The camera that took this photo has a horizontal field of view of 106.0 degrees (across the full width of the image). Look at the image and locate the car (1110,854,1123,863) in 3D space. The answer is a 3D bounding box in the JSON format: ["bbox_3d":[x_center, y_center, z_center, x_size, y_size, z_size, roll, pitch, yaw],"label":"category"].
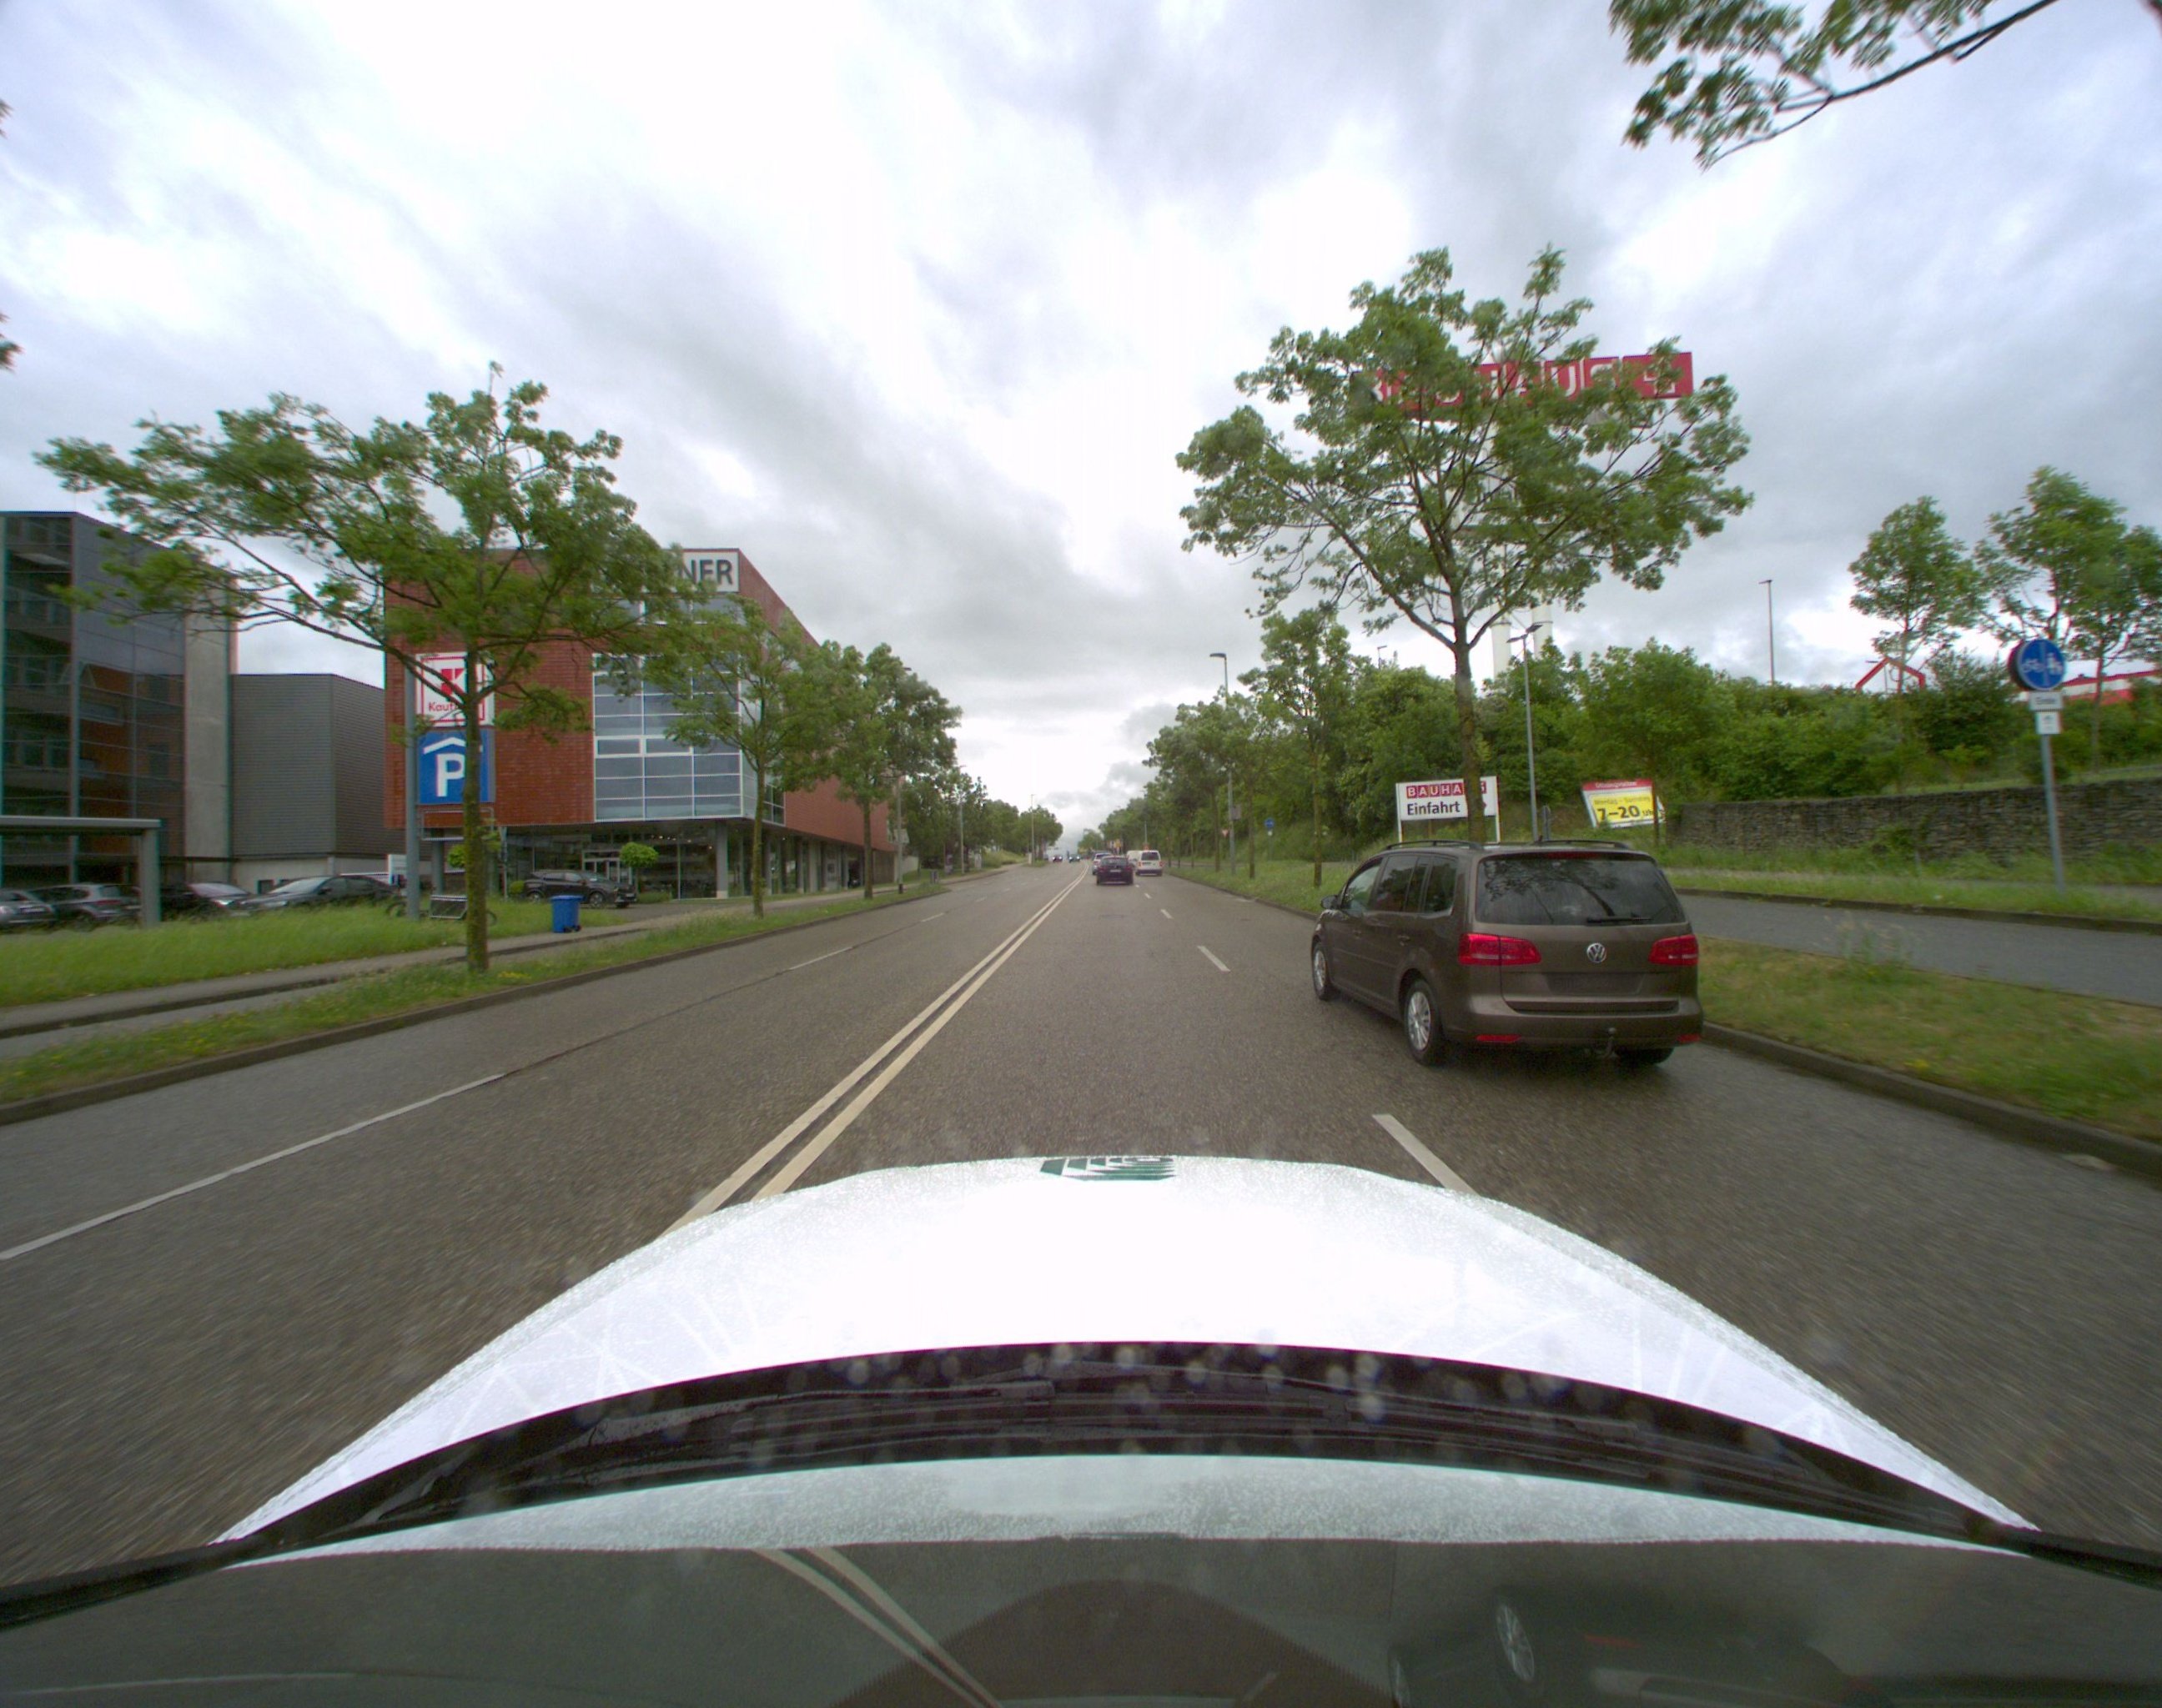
[{"bbox_3d":[5.684,0.742,130.104,1.789,1.510,3.997,0,-1,-2],"label":"car"}]

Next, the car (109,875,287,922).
[{"bbox_3d":[-32.719,1.612,30.305,4.187,1.510,1.897,-1,1,-7],"label":"car"}]

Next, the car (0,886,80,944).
[{"bbox_3d":[-32.462,1.791,23.654,4.105,1.510,1.815,-1,1,-8],"label":"car"}]

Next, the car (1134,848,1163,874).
[{"bbox_3d":[4.786,0.496,58.113,1.821,1.759,4.000,0,0,0],"label":"car"}]

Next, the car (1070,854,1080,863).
[{"bbox_3d":[-1.114,0.788,145.316,1.789,1.510,3.997,0,-1,-2],"label":"car"}]

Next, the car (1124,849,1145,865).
[{"bbox_3d":[5.247,0.321,80.366,1.789,1.510,3.998,0,-1,-1],"label":"car"}]

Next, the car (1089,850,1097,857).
[{"bbox_3d":[2.858,-0.070,198.471,1.788,1.510,3.999,0,-1,0],"label":"car"}]

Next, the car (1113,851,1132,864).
[{"bbox_3d":[4.774,0.414,93.880,1.789,1.510,3.997,0,-1,-2],"label":"car"}]

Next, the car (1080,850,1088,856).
[{"bbox_3d":[0.662,-0.203,188.309,1.788,1.510,3.999,0,-1,0],"label":"car"}]

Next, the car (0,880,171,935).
[{"bbox_3d":[-32.469,1.690,26.083,4.187,1.510,1.815,-1,1,-8],"label":"car"}]

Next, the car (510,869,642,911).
[{"bbox_3d":[-20.799,1.460,33.688,4.263,1.682,1.797,0,-1,-5],"label":"car"}]

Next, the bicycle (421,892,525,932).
[{"bbox_3d":[-16.944,1.605,22.727,2.067,0.935,1.095,2,-1,5],"label":"bicycle"}]

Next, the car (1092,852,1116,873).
[{"bbox_3d":[1.761,0.661,63.076,1.788,1.510,3.999,0,-1,0],"label":"car"}]

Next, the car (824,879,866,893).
[{"bbox_3d":[-22.460,3.036,77.555,3.521,1.284,1.522,0,-1,4],"label":"car"}]

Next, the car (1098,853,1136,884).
[{"bbox_3d":[1.815,0.690,41.641,1.820,1.468,4.002,-1,0,2],"label":"car"}]

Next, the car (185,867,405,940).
[{"bbox_3d":[-23.349,1.386,24.517,2.132,1.773,4.606,-1,1,-1],"label":"car"}]

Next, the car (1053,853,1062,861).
[{"bbox_3d":[-4.635,0.597,161.071,1.789,1.510,3.997,0,-1,-2],"label":"car"}]

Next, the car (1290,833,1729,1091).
[{"bbox_3d":[3.220,0.676,7.203,1.679,1.581,4.218,-1,0,0],"label":"car"}]

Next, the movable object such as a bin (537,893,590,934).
[{"bbox_3d":[-15.091,1.727,23.773,0.816,1.079,1.086,-1,0,1],"label":"movable object such as a bin"}]

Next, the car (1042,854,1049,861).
[{"bbox_3d":[-8.431,0.811,193.864,1.789,1.510,3.997,0,-1,-2],"label":"car"}]

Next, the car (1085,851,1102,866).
[{"bbox_3d":[1.267,0.442,84.903,1.788,1.510,3.999,0,-1,0],"label":"car"}]
